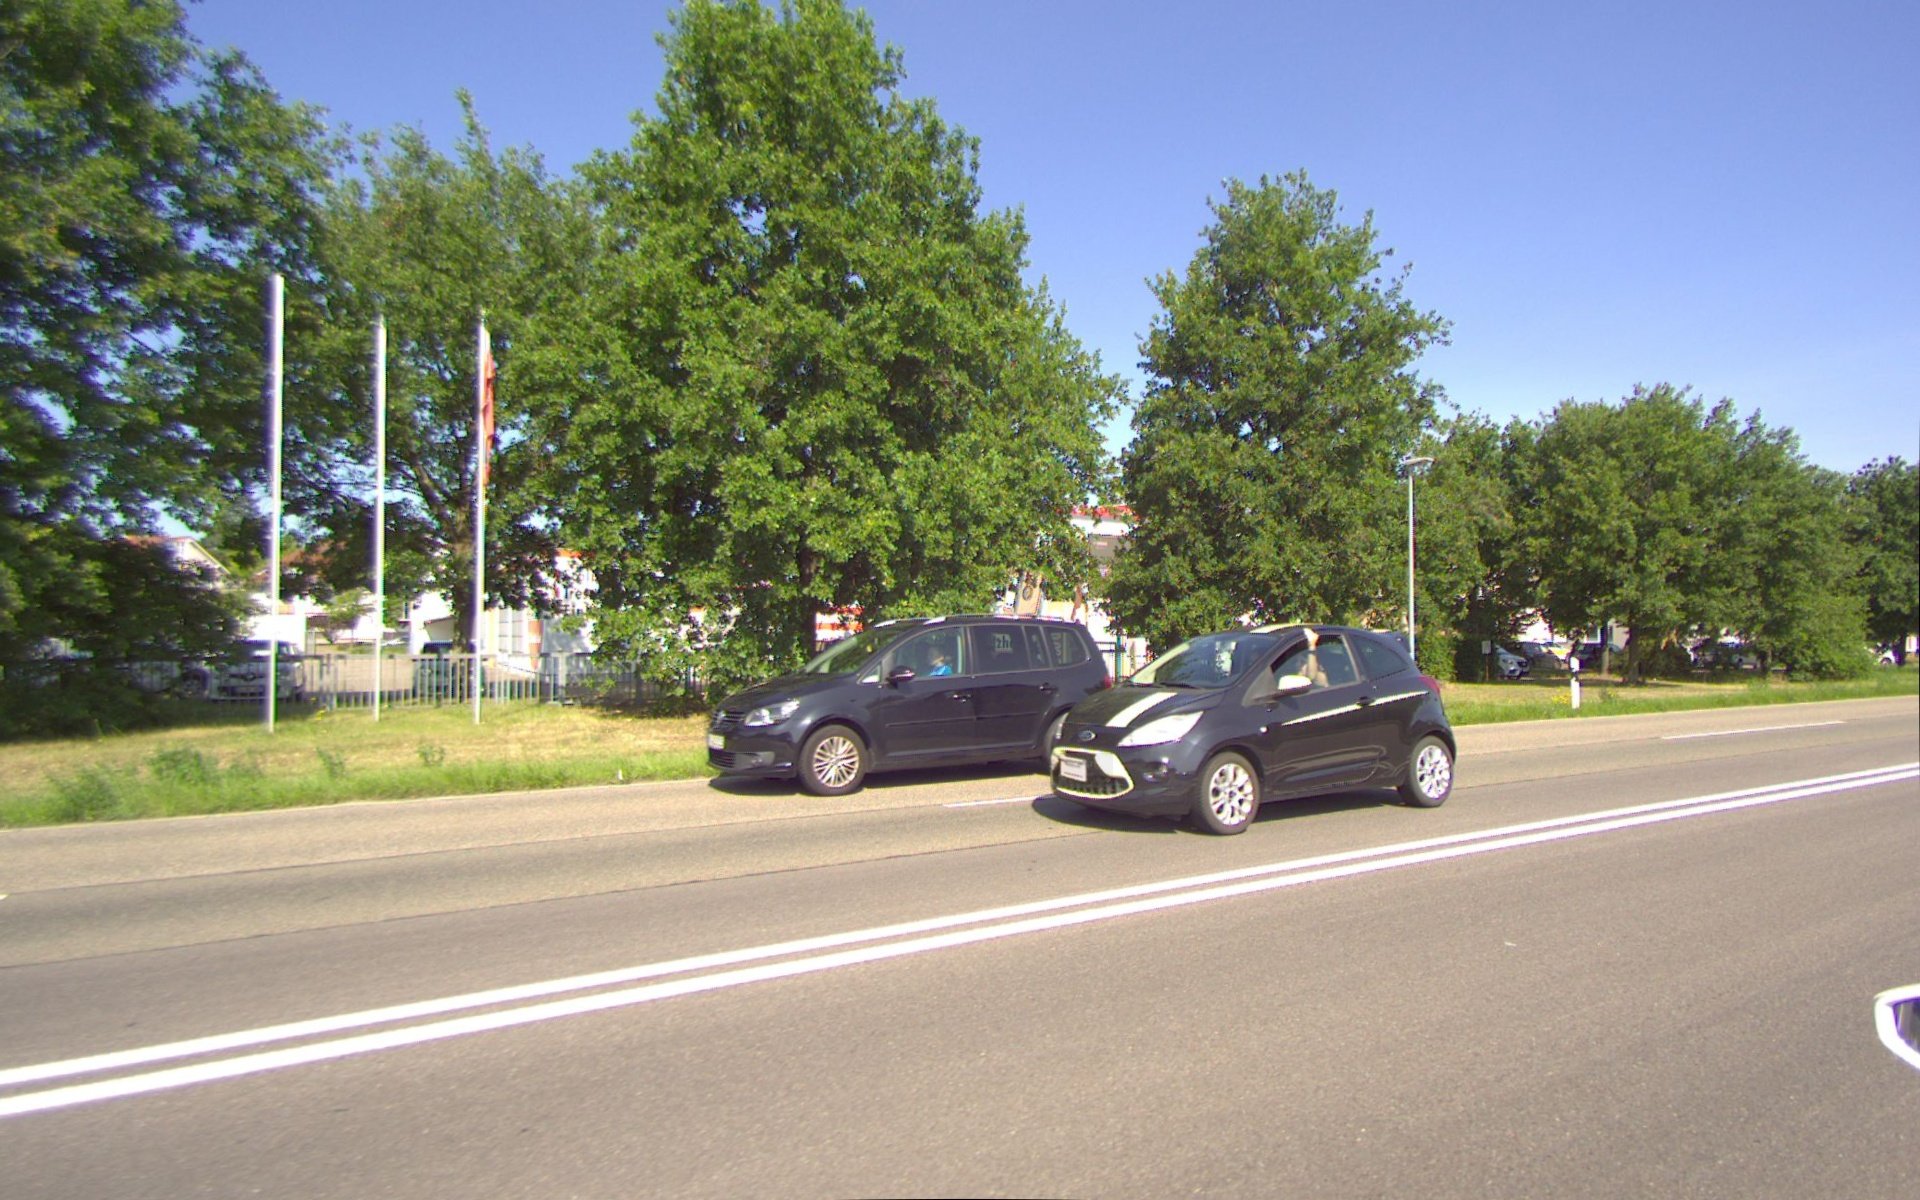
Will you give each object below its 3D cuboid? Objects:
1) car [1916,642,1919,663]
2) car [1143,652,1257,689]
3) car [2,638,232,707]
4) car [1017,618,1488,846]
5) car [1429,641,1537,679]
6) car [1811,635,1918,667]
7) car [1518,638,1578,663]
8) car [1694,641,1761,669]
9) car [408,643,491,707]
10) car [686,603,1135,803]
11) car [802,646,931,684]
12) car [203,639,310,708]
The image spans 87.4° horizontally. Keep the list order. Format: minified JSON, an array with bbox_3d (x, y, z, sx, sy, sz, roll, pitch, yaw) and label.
[{"bbox_3d":[75.494,4.060,77.192,4.496,1.599,1.735,1,-2,-31],"label":"car"},{"bbox_3d":[9.226,2.757,38.934,1.835,1.342,4.332,2,-6,-30],"label":"car"},{"bbox_3d":[-20.351,1.693,24.482,1.705,1.520,4.002,0,-2,16],"label":"car"},{"bbox_3d":[2.428,0.932,8.120,3.731,1.469,1.510,1,-4,-31],"label":"car"},{"bbox_3d":[25.216,2.892,48.529,1.977,1.753,4.204,1,-4,-30],"label":"car"},{"bbox_3d":[57.975,3.269,64.445,4.916,1.954,2.075,1,-2,0],"label":"car"},{"bbox_3d":[41.023,3.490,70.039,4.120,1.680,1.847,1,-2,-31],"label":"car"},{"bbox_3d":[46.995,3.343,61.461,4.145,1.673,1.919,1,-2,-32],"label":"car"},{"bbox_3d":[-13.499,1.901,26.441,1.737,1.520,3.969,1,-2,-30],"label":"car"},{"bbox_3d":[-0.440,0.970,10.454,4.340,1.693,1.817,1,-4,-32],"label":"car"},{"bbox_3d":[-3.521,2.424,38.138,4.613,1.367,1.777,2,-3,-33],"label":"car"},{"bbox_3d":[-17.017,1.718,24.450,1.737,1.520,3.969,1,-2,-30],"label":"car"}]
